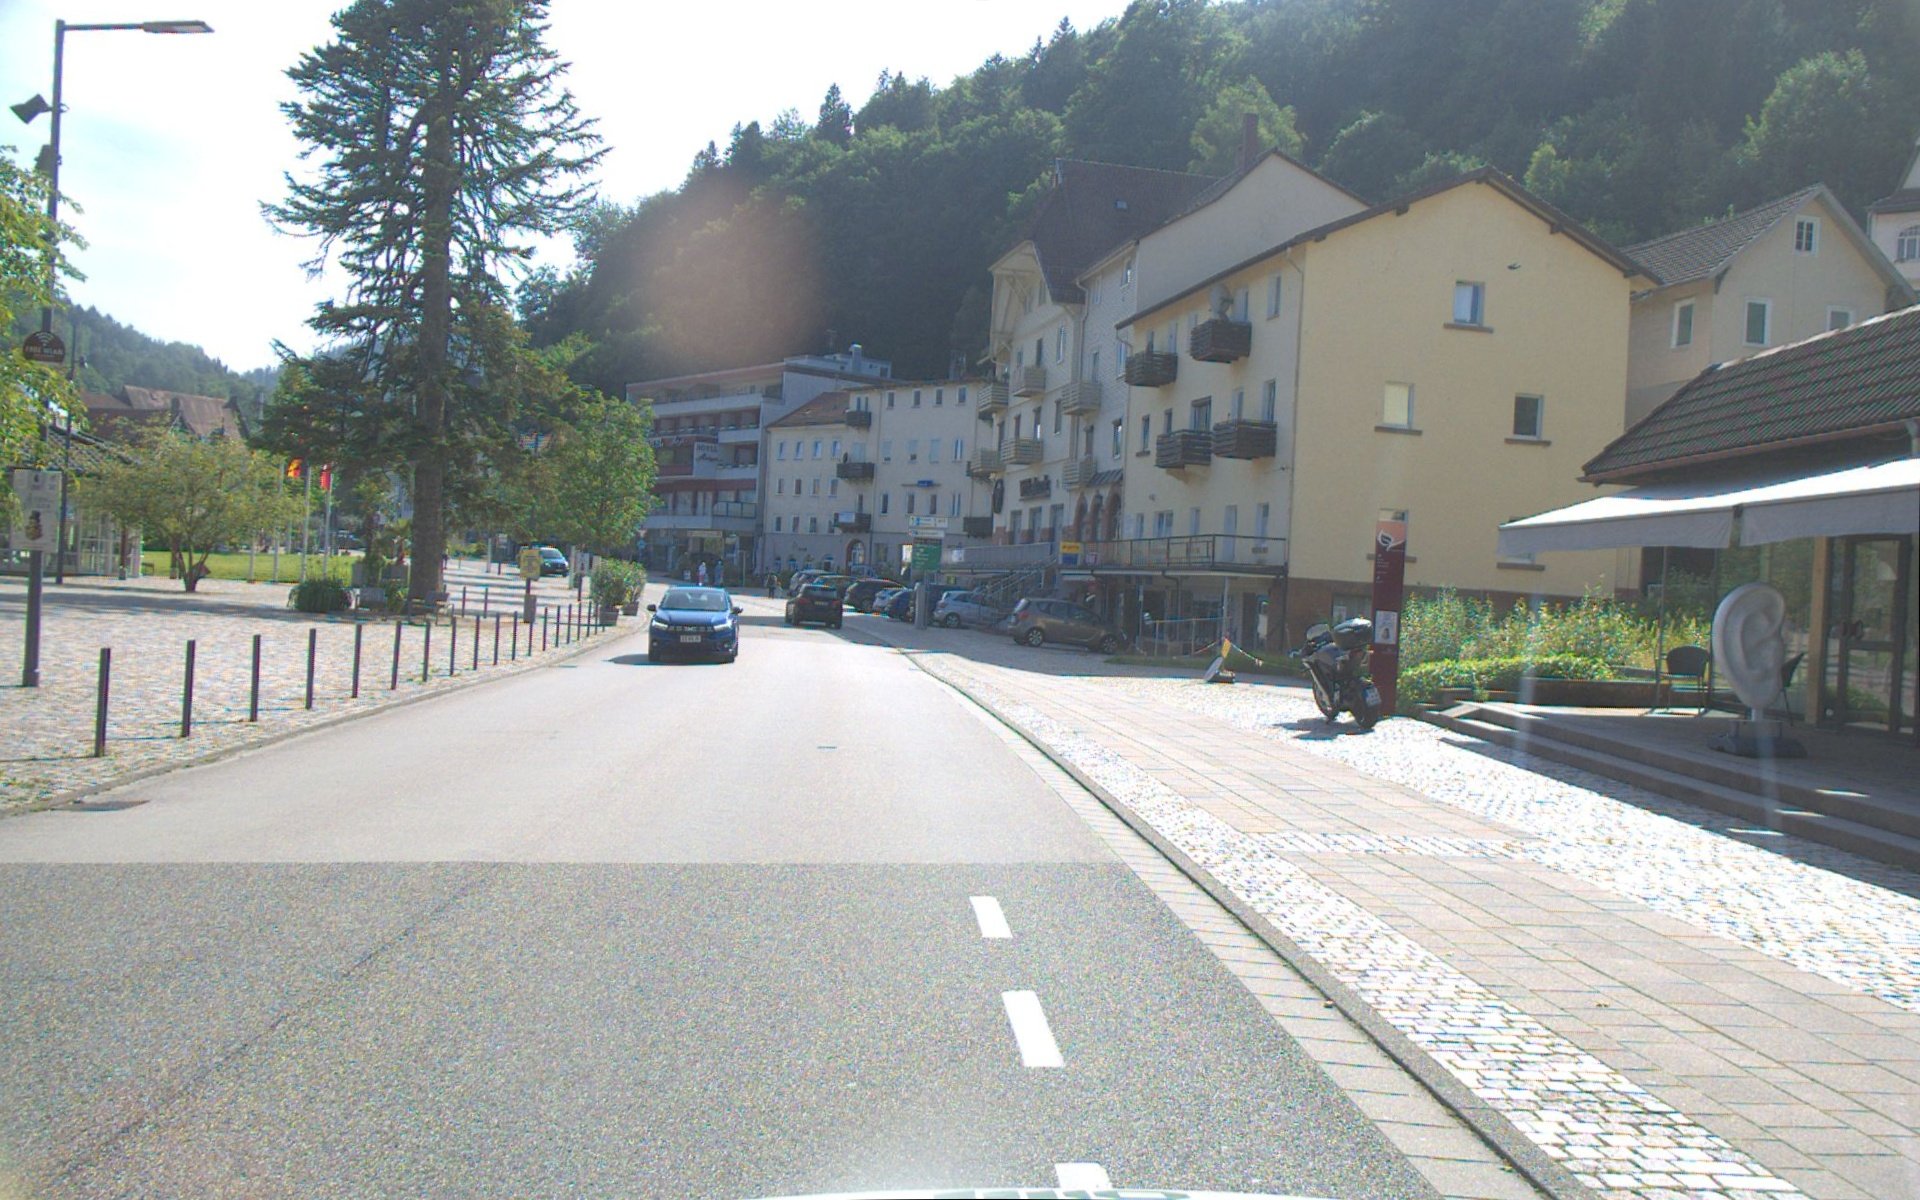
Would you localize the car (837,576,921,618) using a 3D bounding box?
[{"bbox_3d":[-4.209,-0.158,85.281,4.012,1.694,1.768,7,0,-11],"label":"car"}]

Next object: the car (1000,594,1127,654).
[{"bbox_3d":[3.441,0.794,55.356,3.794,1.581,1.755,6,0,-13],"label":"car"}]

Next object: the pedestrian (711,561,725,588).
[{"bbox_3d":[-16.469,-1.738,112.563,0.662,1.758,0.700,4,0,-33],"label":"pedestrian"}]

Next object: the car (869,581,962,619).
[{"bbox_3d":[-2.195,0.006,80.614,4.276,1.486,1.769,5,-1,-8],"label":"car"}]

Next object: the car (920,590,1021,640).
[{"bbox_3d":[0.434,0.620,68.919,3.840,1.616,1.770,6,0,-11],"label":"car"}]

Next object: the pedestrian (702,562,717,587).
[{"bbox_3d":[-16.915,-1.699,111.686,0.750,1.621,0.621,4,0,-33],"label":"pedestrian"}]

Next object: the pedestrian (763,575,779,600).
[{"bbox_3d":[-11.133,-0.728,97.392,0.730,1.467,0.624,1,1,-39],"label":"pedestrian"}]

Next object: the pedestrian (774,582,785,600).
[{"bbox_3d":[-10.693,-0.533,97.729,0.414,1.019,0.524,1,1,-38],"label":"pedestrian"}]

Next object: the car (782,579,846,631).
[{"bbox_3d":[-5.349,0.155,60.389,1.698,1.601,3.741,4,2,-14],"label":"car"}]

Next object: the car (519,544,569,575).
[{"bbox_3d":[-28.390,-2.759,112.780,1.836,1.987,4.964,2,1,-32],"label":"car"}]

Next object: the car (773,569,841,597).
[{"bbox_3d":[-9.523,-1.047,103.088,3.822,1.640,1.755,0,3,-31],"label":"car"}]

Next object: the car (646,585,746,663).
[{"bbox_3d":[-5.448,0.452,34.583,1.707,1.488,4.183,1,0,-5],"label":"car"}]

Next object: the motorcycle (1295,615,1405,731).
[{"bbox_3d":[4.775,0.860,20.416,0.683,1.319,2.210,0,0,-4],"label":"motorcycle"}]

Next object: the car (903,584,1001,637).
[{"bbox_3d":[-0.375,0.433,71.432,3.840,1.835,1.853,7,-1,-11],"label":"car"}]

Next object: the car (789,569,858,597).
[{"bbox_3d":[-8.266,-1.052,100.313,3.822,1.576,1.755,0,3,-31],"label":"car"}]

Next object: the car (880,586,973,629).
[{"bbox_3d":[-1.502,0.331,74.104,3.840,1.485,1.732,6,0,-11],"label":"car"}]
